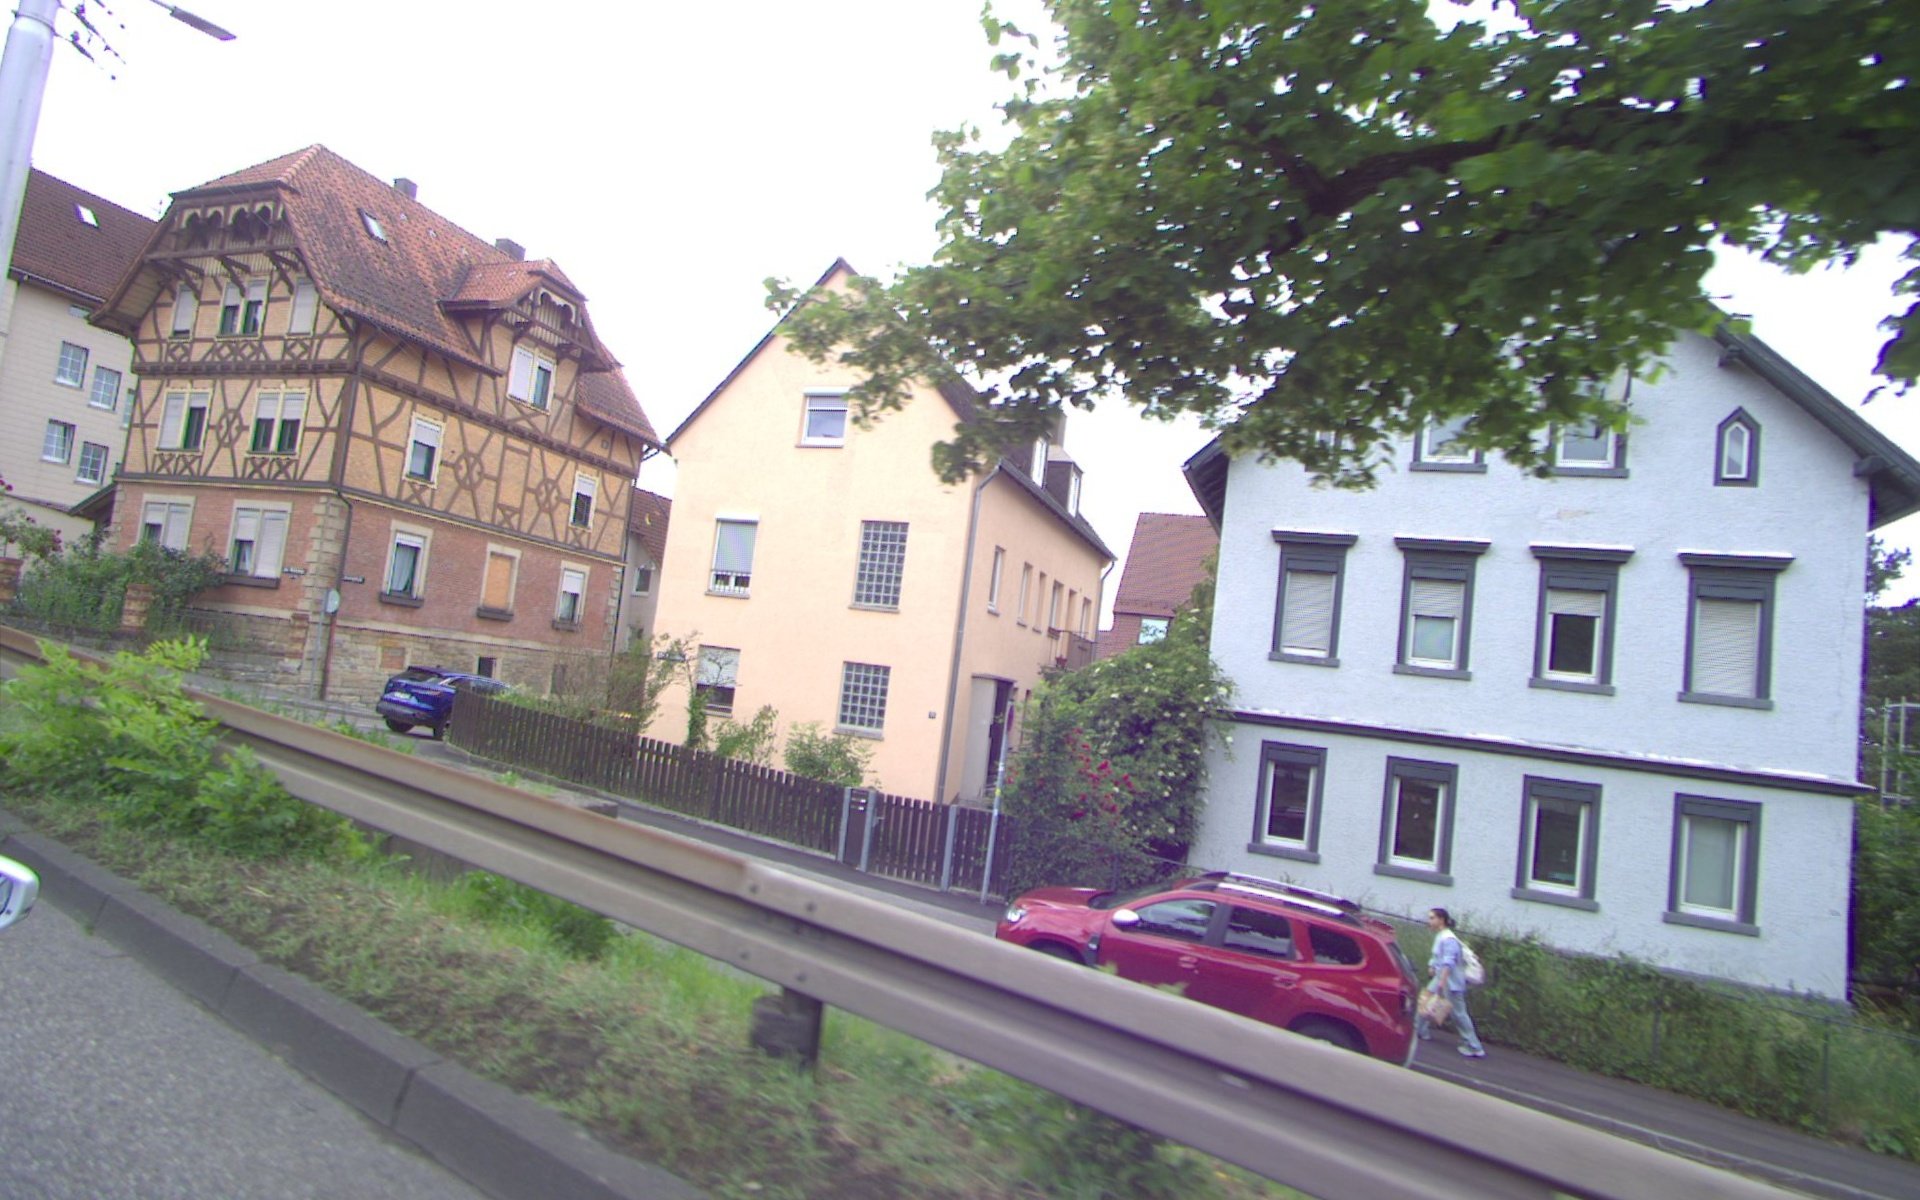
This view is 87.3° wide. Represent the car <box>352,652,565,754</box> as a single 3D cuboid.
[{"bbox_3d":[-11.695,2.503,23.782,1.963,1.585,4.018,8,-9,22],"label":"car"}]

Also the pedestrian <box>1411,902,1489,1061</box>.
[{"bbox_3d":[5.492,4.254,11.304,0.579,1.495,0.621,8,-4,23],"label":"pedestrian"}]

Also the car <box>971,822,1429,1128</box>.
[{"bbox_3d":[2.456,3.673,10.518,4.126,1.686,1.792,8,-4,22],"label":"car"}]
